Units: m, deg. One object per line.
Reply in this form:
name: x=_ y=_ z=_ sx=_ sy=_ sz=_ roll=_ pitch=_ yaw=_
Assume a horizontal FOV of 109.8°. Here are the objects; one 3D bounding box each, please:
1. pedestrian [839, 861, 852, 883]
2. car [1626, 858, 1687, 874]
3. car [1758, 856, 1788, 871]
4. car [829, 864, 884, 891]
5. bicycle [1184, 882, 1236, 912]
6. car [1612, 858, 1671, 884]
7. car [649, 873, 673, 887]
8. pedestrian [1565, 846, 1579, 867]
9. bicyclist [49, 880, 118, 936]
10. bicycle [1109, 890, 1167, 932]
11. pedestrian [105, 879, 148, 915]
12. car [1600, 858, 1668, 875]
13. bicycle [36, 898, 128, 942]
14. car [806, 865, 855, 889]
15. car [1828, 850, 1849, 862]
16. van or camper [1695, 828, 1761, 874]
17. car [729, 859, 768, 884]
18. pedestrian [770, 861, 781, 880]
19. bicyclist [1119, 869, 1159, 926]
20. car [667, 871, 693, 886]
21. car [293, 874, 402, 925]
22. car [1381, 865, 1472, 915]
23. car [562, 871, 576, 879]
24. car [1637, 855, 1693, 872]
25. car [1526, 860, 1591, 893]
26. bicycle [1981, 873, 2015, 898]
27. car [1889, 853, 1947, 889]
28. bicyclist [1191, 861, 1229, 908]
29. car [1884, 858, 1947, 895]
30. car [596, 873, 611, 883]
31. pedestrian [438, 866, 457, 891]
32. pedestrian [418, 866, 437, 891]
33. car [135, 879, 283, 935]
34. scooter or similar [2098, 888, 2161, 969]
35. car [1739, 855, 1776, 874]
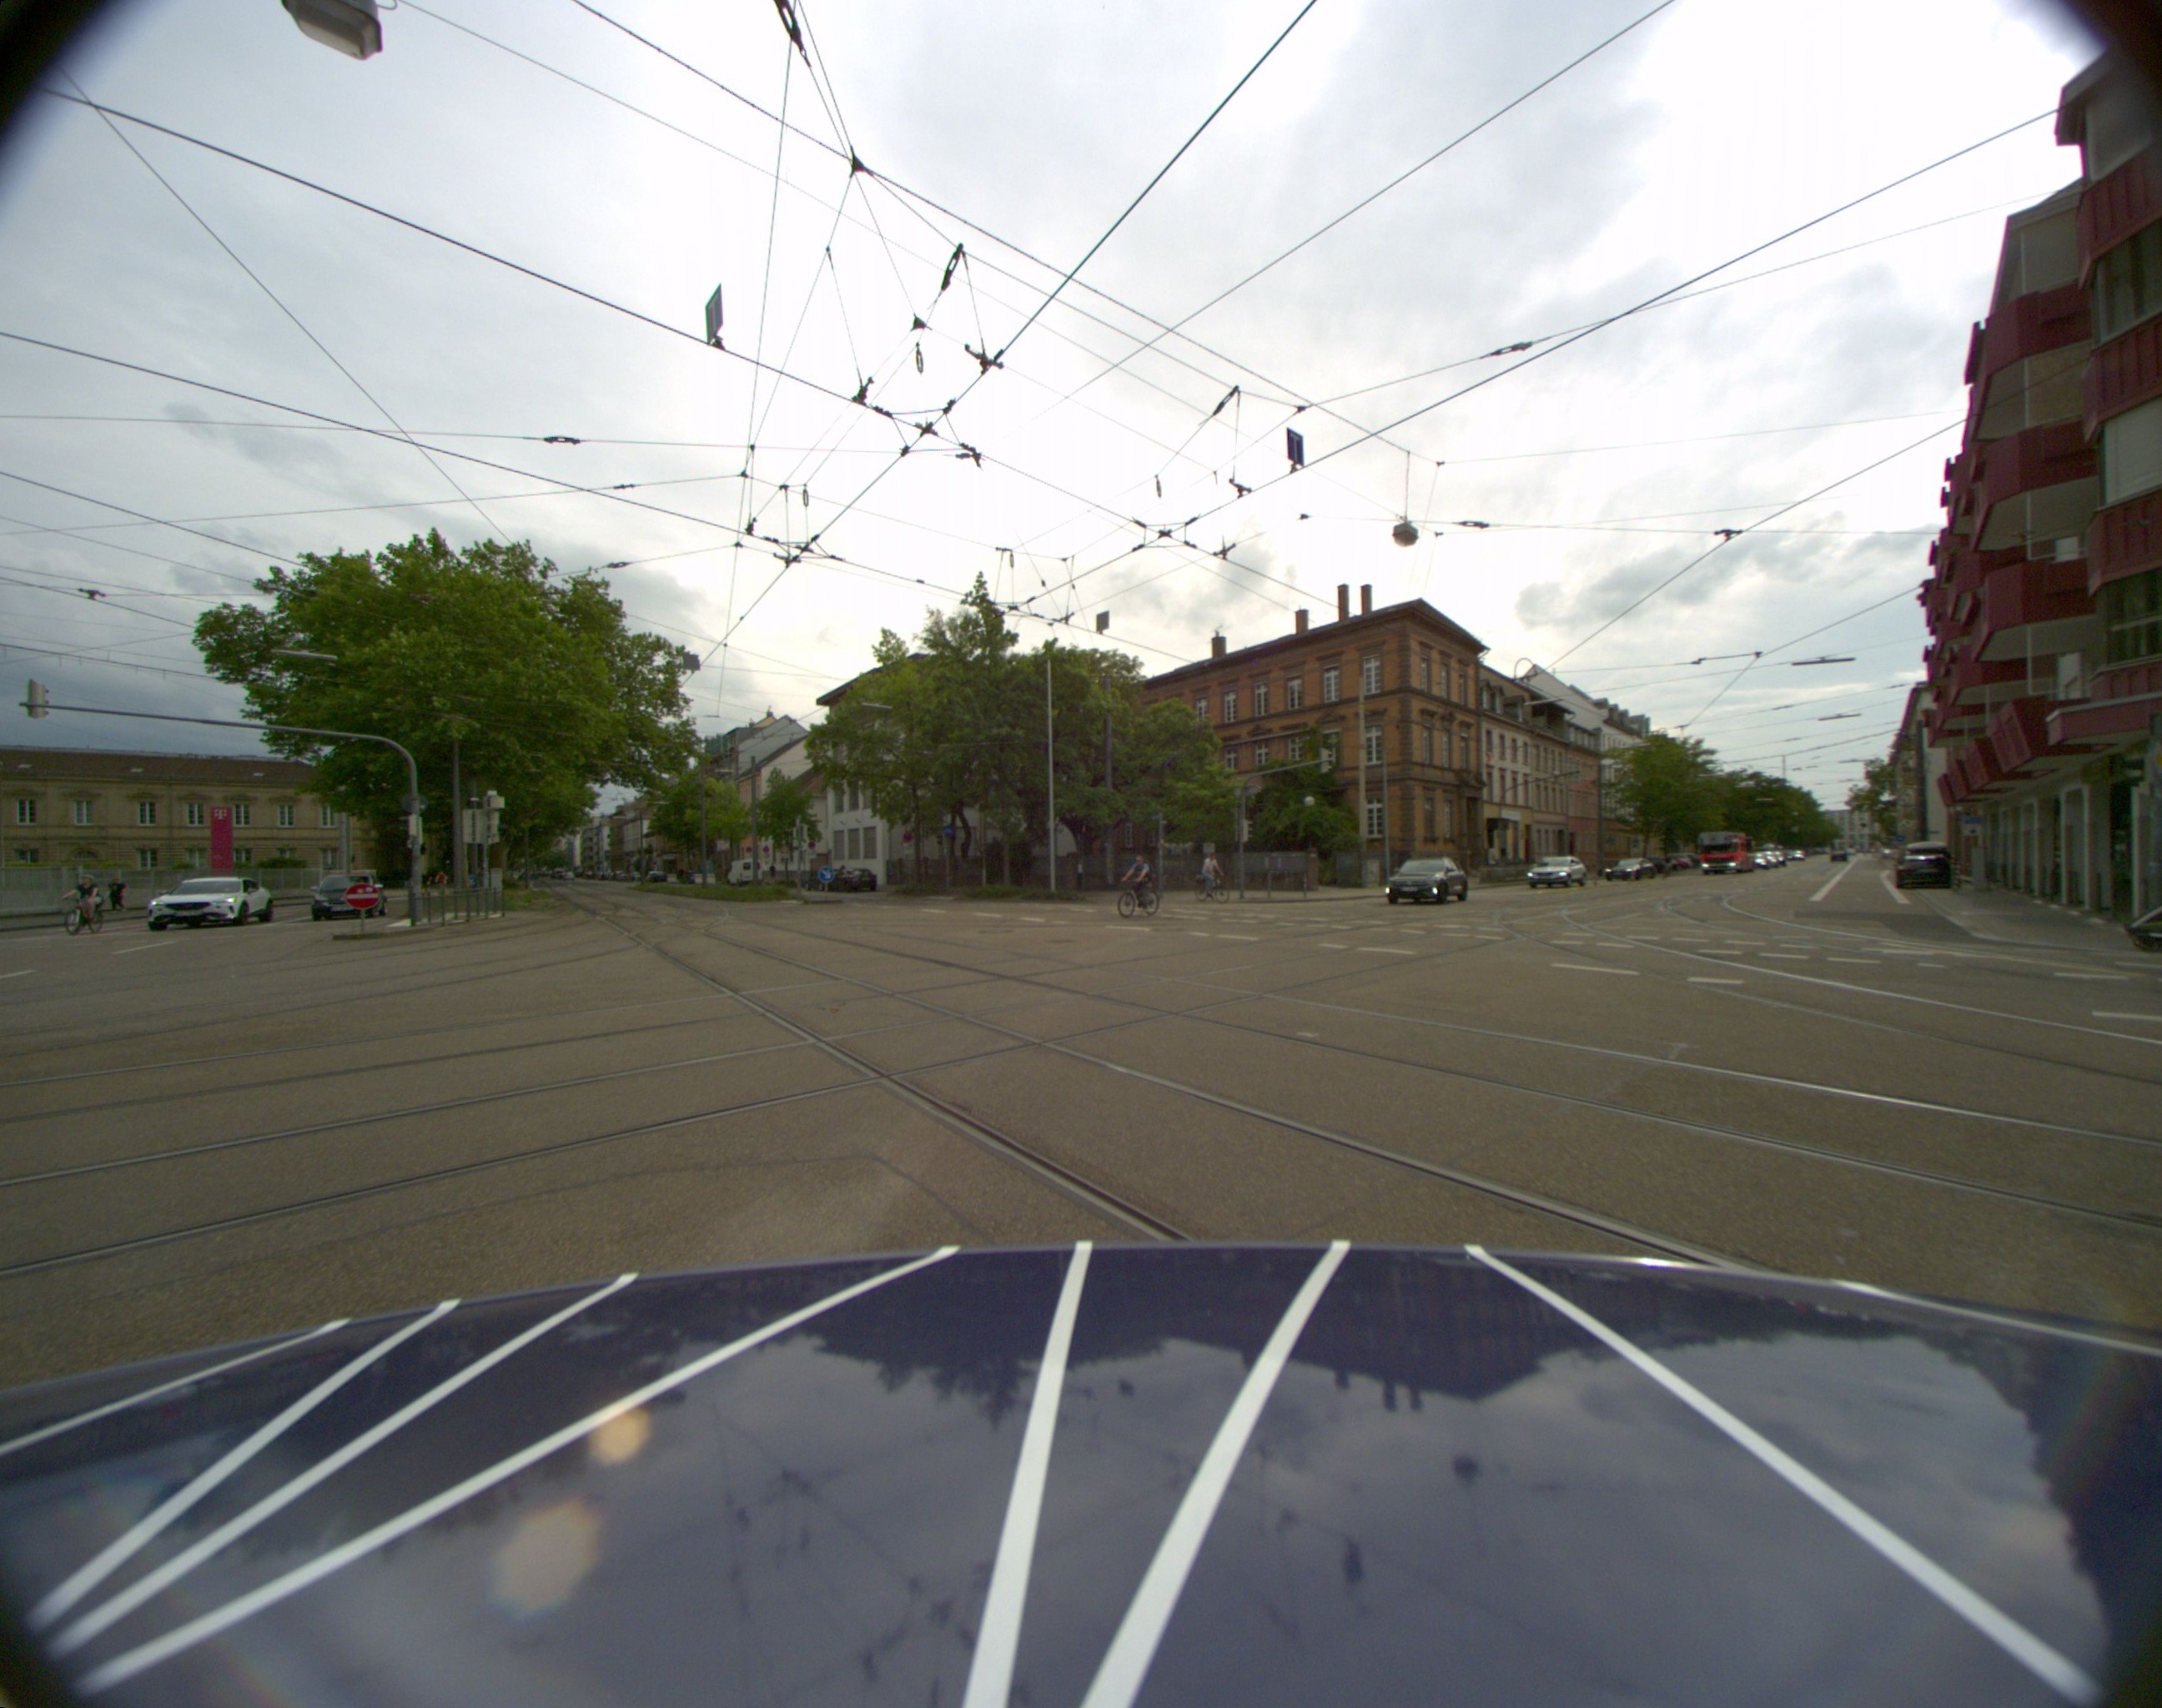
pedestrian: x=-18.080 y=1.378 z=58.389 sx=0.770 sy=1.640 sz=0.764 roll=-1 pitch=0 yaw=-35
car: x=54.959 y=1.153 z=72.588 sx=4.335 sy=1.471 sz=1.792 roll=0 pitch=0 yaw=23
car: x=68.394 y=0.932 z=75.091 sx=4.008 sy=1.478 sz=1.907 roll=0 pitch=-1 yaw=-44
car: x=-13.941 y=1.451 z=47.016 sx=1.740 sy=1.552 sz=4.409 roll=-1 pitch=-1 yaw=-37
bicycle: x=5.005 y=1.659 z=29.595 sx=0.752 sy=1.080 sz=2.011 roll=-1 pitch=0 yaw=-36
car: x=35.586 y=1.095 z=48.194 sx=4.056 sy=1.525 sz=1.770 roll=-1 pitch=-2 yaw=-35
car: x=-55.513 y=3.462 z=100.441 sx=2.102 sy=1.796 sz=4.409 roll=-1 pitch=-1 yaw=-37
pedestrian: x=40.555 y=0.181 z=62.760 sx=0.928 sy=1.679 sz=0.730 roll=-1 pitch=3 yaw=-43
bicyclist: x=-28.973 y=1.535 z=22.096 sx=0.804 sy=1.540 sz=1.326 roll=-1 pitch=0 yaw=-33
bicycle: x=1.597 y=1.539 z=20.979 sx=0.713 sy=1.012 sz=1.804 roll=-1 pitch=0 yaw=36
pedestrian: x=-42.726 y=1.900 z=34.023 sx=0.885 sy=1.560 sz=0.978 roll=-1 pitch=0 yaw=-31
car: x=49.444 y=1.120 z=68.043 sx=4.617 sy=1.464 sz=1.792 roll=0 pitch=0 yaw=23
bicycle: x=-28.954 y=1.874 z=22.075 sx=0.804 sy=1.080 sz=2.556 roll=-1 pitch=0 yaw=-33
car: x=-16.799 y=1.546 z=50.853 sx=1.764 sy=1.526 sz=4.409 roll=-1 pitch=-1 yaw=-37
car: x=104.294 y=0.229 z=104.602 sx=4.057 sy=1.528 sz=1.770 roll=0 pitch=-2 yaw=-42
van or camper: x=51.314 y=-0.199 z=60.179 sx=9.672 sy=3.400 sz=2.602 roll=0 pitch=-1 yaw=-42
car: x=-29.182 y=1.531 z=66.662 sx=2.102 sy=2.176 sz=4.409 roll=-1 pitch=-1 yaw=-37
pedestrian: x=-28.750 y=1.566 z=71.608 sx=0.770 sy=1.770 sz=0.764 roll=-1 pitch=0 yaw=-36
bicyclist: x=1.606 y=1.179 z=20.988 sx=0.714 sy=1.498 sz=0.920 roll=0 pitch=1 yaw=36
car: x=-48.799 y=2.989 z=92.430 sx=2.102 sy=1.796 sz=4.409 roll=-1 pitch=-1 yaw=-37
car: x=-25.107 y=1.480 z=26.182 sx=1.840 sy=1.557 sz=4.410 roll=-1 pitch=-1 yaw=-32
car: x=11.960 y=1.189 z=26.123 sx=1.770 sy=1.538 sz=4.291 roll=-3 pitch=-2 yaw=39
car: x=-104.035 y=4.237 z=154.278 sx=1.851 sy=1.482 sz=3.738 roll=-1 pitch=-2 yaw=-41
car: x=59.868 y=0.942 z=77.923 sx=4.229 sy=1.688 sz=1.743 roll=0 pitch=0 yaw=23
car: x=25.101 y=1.173 z=39.881 sx=4.291 sy=1.581 sz=1.770 roll=0 pitch=-2 yaw=-43
bicycle: x=36.949 y=1.238 z=30.636 sx=0.564 sy=0.947 sz=1.654 roll=-1 pitch=0 yaw=40
car: x=41.822 y=0.806 z=38.030 sx=4.708 sy=1.637 sz=1.808 roll=0 pitch=-3 yaw=-43
bicyclist: x=5.015 y=1.174 z=29.592 sx=0.749 sy=1.750 sz=1.249 roll=-1 pitch=0 yaw=-37
car: x=37.464 y=0.978 z=34.182 sx=4.708 sy=1.471 sz=1.756 roll=0 pitch=-3 yaw=-43
car: x=-93.461 y=4.719 z=148.672 sx=2.102 sy=1.855 sz=4.409 roll=-1 pitch=-1 yaw=-36
pedestrian: x=-48.830 y=1.870 z=58.605 sx=0.837 sy=1.854 sz=1.249 roll=-1 pitch=0 yaw=-27
pedestrian: x=-49.695 y=1.880 z=57.771 sx=0.837 sy=1.854 sz=1.173 roll=-1 pitch=0 yaw=-27
car: x=-26.735 y=1.543 z=23.501 sx=2.004 sy=1.495 sz=4.409 roll=-1 pitch=-1 yaw=-35
scooter or similar: x=15.804 y=1.063 z=10.974 sx=0.948 sy=1.122 sz=1.196 roll=0 pitch=-1 yaw=-44
car: x=61.236 y=0.941 z=68.747 sx=4.061 sy=1.698 sz=1.994 roll=0 pitch=0 yaw=-42
